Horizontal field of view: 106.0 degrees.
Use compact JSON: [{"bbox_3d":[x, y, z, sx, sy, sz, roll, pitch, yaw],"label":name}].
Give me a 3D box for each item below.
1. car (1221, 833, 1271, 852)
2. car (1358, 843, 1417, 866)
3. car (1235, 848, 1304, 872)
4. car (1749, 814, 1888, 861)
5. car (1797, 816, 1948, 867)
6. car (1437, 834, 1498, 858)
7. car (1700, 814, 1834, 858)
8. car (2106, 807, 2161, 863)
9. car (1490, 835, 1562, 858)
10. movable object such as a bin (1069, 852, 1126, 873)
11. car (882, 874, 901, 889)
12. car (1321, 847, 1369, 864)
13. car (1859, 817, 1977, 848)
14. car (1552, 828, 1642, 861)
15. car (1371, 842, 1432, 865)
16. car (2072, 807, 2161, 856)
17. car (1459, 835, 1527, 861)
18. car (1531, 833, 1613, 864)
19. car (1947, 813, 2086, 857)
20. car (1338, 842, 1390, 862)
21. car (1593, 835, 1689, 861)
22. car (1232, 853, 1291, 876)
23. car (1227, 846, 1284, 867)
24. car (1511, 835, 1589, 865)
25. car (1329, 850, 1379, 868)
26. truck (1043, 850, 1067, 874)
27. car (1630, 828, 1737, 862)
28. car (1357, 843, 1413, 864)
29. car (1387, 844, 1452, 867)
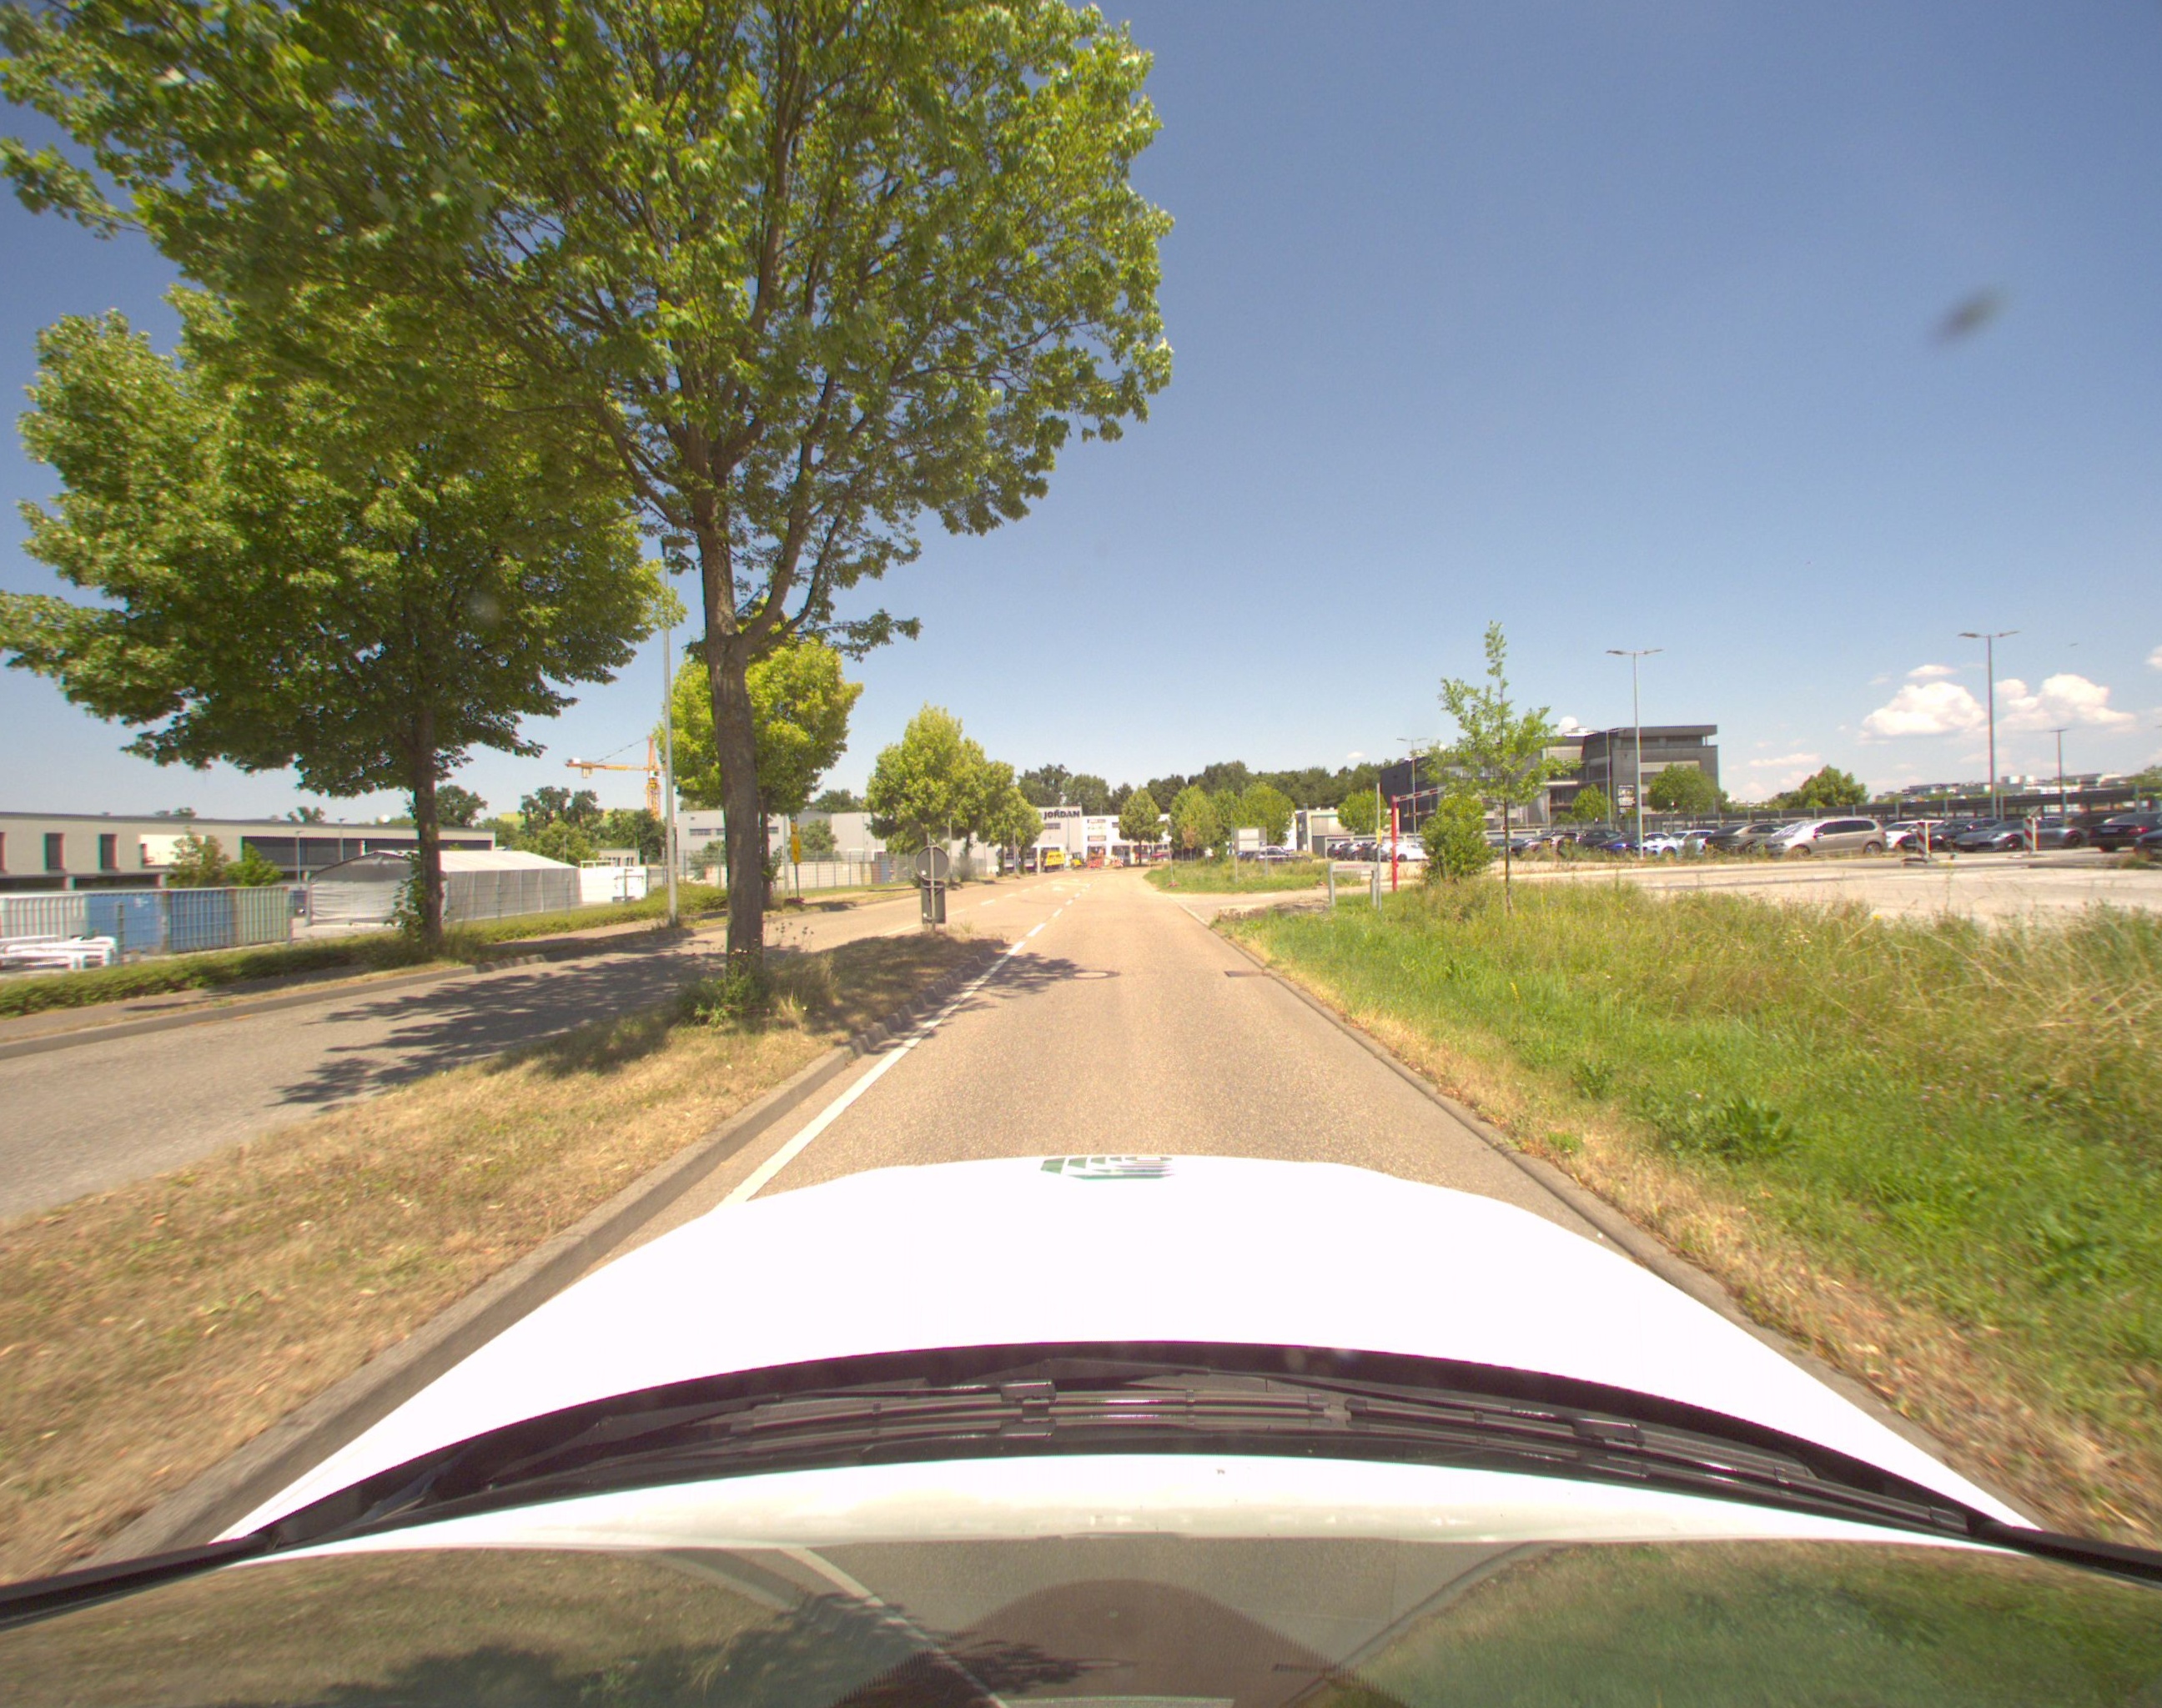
[{"bbox_3d":[14.958,-1.060,74.034,4.151,1.400,1.768,-3,3,-2],"label":"car"},{"bbox_3d":[24.348,0.031,64.762,3.976,1.490,1.768,-3,3,-2],"label":"car"},{"bbox_3d":[13.878,0.410,60.230,4.683,1.400,1.924,-3,3,4],"label":"car"},{"bbox_3d":[29.140,-0.690,32.248,3.976,1.595,1.768,-3,3,-2],"label":"car"},{"bbox_3d":[29.283,-0.496,30.195,3.976,1.595,1.768,-3,3,-2],"label":"car"},{"bbox_3d":[30.409,-0.623,64.121,3.976,1.595,1.768,-3,3,-2],"label":"car"},{"bbox_3d":[29.500,-0.798,35.093,4.354,1.595,1.768,-3,3,-2],"label":"car"},{"bbox_3d":[29.042,-0.560,20.494,3.971,1.395,1.928,-3,-1,2],"label":"car"},{"bbox_3d":[30.283,-0.500,55.453,3.976,1.271,1.768,-3,3,-2],"label":"car"},{"bbox_3d":[2.359,1.191,115.480,7.479,2.499,3.677,-3,3,10],"label":"movable object such as a bin"},{"bbox_3d":[-26.497,3.829,114.013,1.990,1.551,3.995,-3,3,-4],"label":"car"},{"bbox_3d":[25.391,0.127,78.468,3.976,1.400,1.768,-3,3,-2],"label":"car"},{"bbox_3d":[39.644,-1.040,38.628,3.977,1.192,1.731,-3,3,-2],"label":"car"},{"bbox_3d":[29.467,-0.582,46.596,3.976,1.595,1.861,-3,3,-2],"label":"car"},{"bbox_3d":[24.524,-0.054,62.331,3.976,1.400,1.768,-3,3,-2],"label":"car"},{"bbox_3d":[39.568,-0.869,30.046,3.976,1.595,1.768,-3,3,-2],"label":"car"},{"bbox_3d":[29.530,-0.432,58.386,3.976,1.595,1.768,-3,3,-2],"label":"car"},{"bbox_3d":[29.810,-0.351,49.521,3.976,1.595,1.768,-3,3,-2],"label":"car"},{"bbox_3d":[39.533,-0.834,34.465,3.976,1.595,1.768,-3,3,-2],"label":"car"},{"bbox_3d":[25.087,-0.189,72.171,3.976,1.400,1.768,-3,3,-2],"label":"car"},{"bbox_3d":[29.858,-0.348,43.505,3.976,1.108,1.768,-3,3,-2],"label":"car"},{"bbox_3d":[13.994,0.785,63.149,4.151,1.400,1.768,-3,3,-2],"label":"car"},{"bbox_3d":[14.087,0.212,65.834,4.151,1.400,1.768,-3,3,-2],"label":"car"},{"bbox_3d":[29.989,-0.256,52.106,3.976,1.595,1.768,-3,3,-2],"label":"car"},{"bbox_3d":[25.111,0.450,74.936,3.976,1.400,1.768,-3,3,-2],"label":"car"},{"bbox_3d":[-3.749,1.055,115.589,2.935,2.885,5.798,-3,3,-6],"label":"truck"},{"bbox_3d":[29.556,-0.465,40.019,3.976,1.392,1.768,-3,3,-2],"label":"car"},{"bbox_3d":[25.360,-0.052,67.915,3.976,1.461,1.768,-3,3,-2],"label":"car"},{"bbox_3d":[24.629,0.084,59.370,3.974,1.400,1.769,-3,3,0],"label":"car"}]
